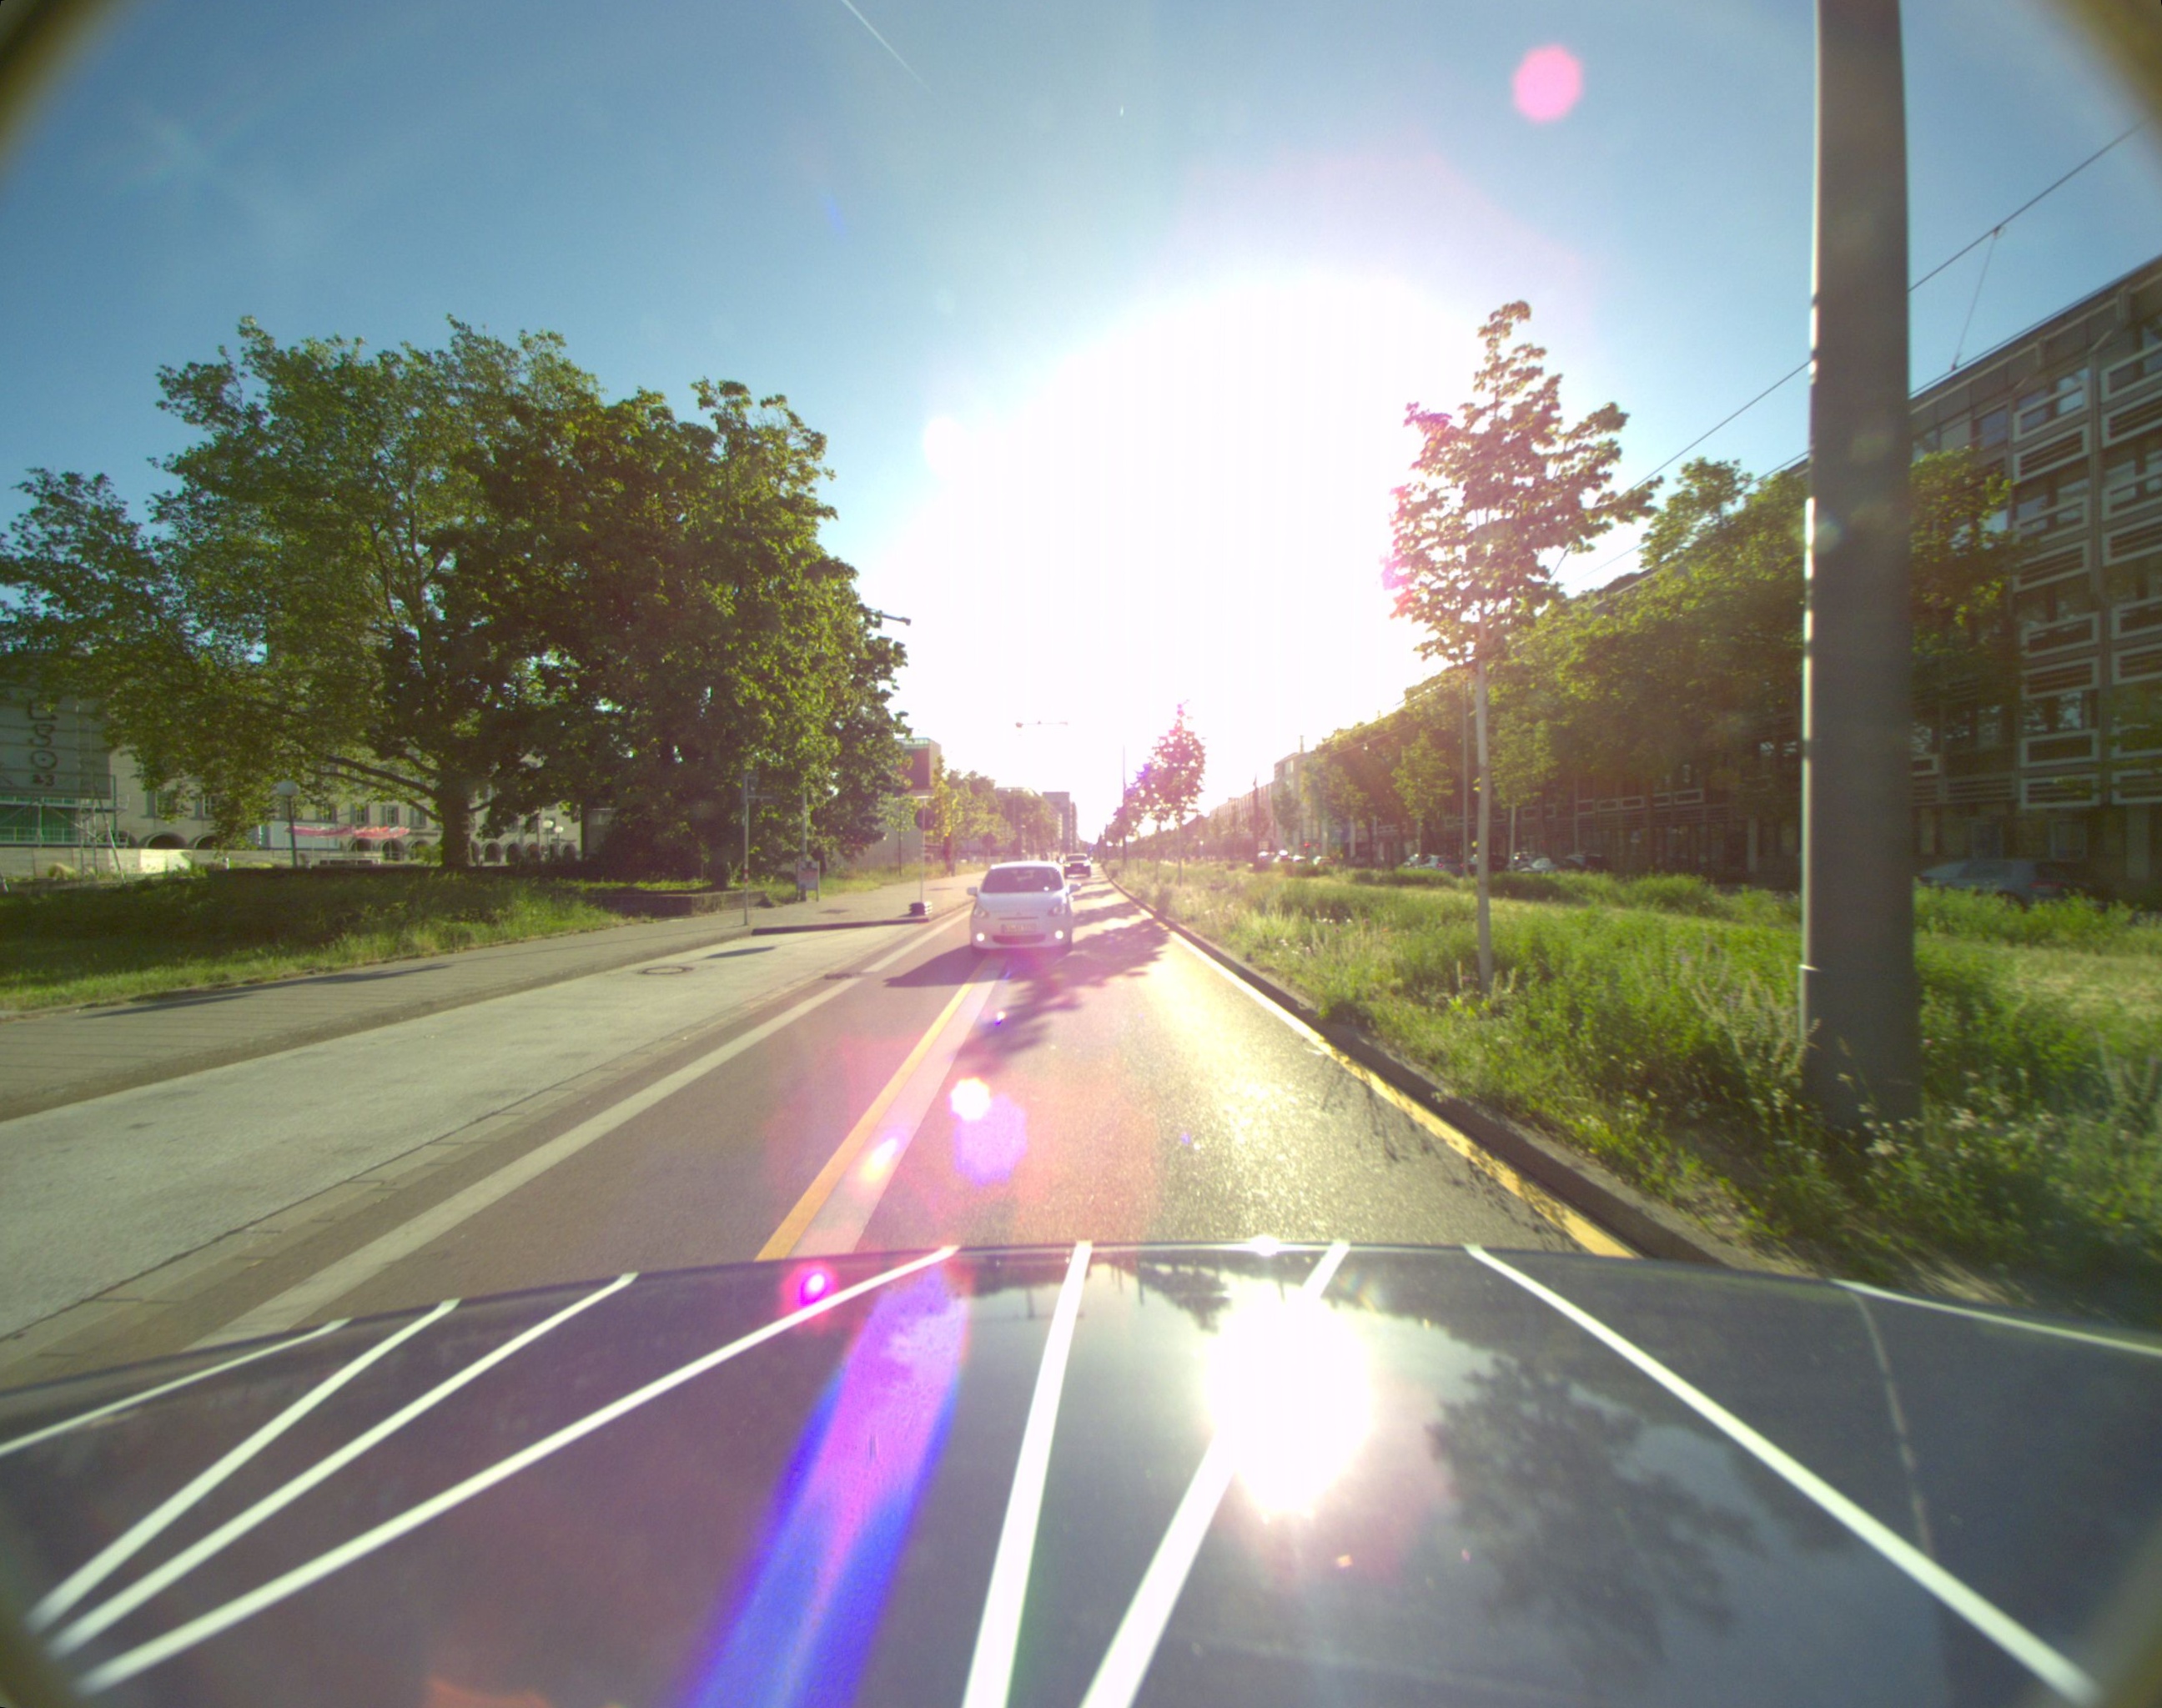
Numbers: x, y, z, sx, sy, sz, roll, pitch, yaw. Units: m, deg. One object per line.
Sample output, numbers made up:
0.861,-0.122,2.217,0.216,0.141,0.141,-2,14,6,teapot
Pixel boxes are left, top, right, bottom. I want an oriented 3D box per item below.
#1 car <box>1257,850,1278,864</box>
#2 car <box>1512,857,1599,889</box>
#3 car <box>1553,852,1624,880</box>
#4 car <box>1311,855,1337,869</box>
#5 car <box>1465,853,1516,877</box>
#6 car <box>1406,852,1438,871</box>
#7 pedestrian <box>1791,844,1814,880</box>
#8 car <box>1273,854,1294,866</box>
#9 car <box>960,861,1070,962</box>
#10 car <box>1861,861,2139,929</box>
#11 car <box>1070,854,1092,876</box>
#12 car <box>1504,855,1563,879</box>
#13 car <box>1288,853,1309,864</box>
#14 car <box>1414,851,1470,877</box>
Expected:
23.882,0.371,97.491,1.865,1.671,3.780,0,0,2,car
23.446,0.907,37.735,1.631,1.487,4.417,0,0,2,car
29.691,0.662,44.582,1.726,1.535,3.631,-2,0,-1,car
26.007,0.825,81.498,1.631,1.487,3.780,0,0,2,car
30.284,0.789,56.269,1.726,1.592,3.631,-2,0,-1,car
30.347,0.658,67.689,1.390,1.592,3.266,-2,0,0,car
34.841,0.379,36.711,0.483,1.739,0.639,0,1,2,pedestrian
23.216,0.713,87.257,1.555,1.371,3.780,0,0,2,car
-1.069,0.931,13.754,1.614,1.489,3.394,-3,0,0,car
21.411,0.880,18.008,1.720,1.379,4.039,0,0,0,car
-0.010,0.788,54.845,1.459,1.472,3.527,-2,0,0,car
30.225,0.876,50.872,1.726,1.477,3.631,2,-1,-1,car
26.711,0.561,93.348,1.555,1.371,3.780,0,0,2,car
21.501,0.566,45.401,1.631,1.487,3.780,0,0,2,car
